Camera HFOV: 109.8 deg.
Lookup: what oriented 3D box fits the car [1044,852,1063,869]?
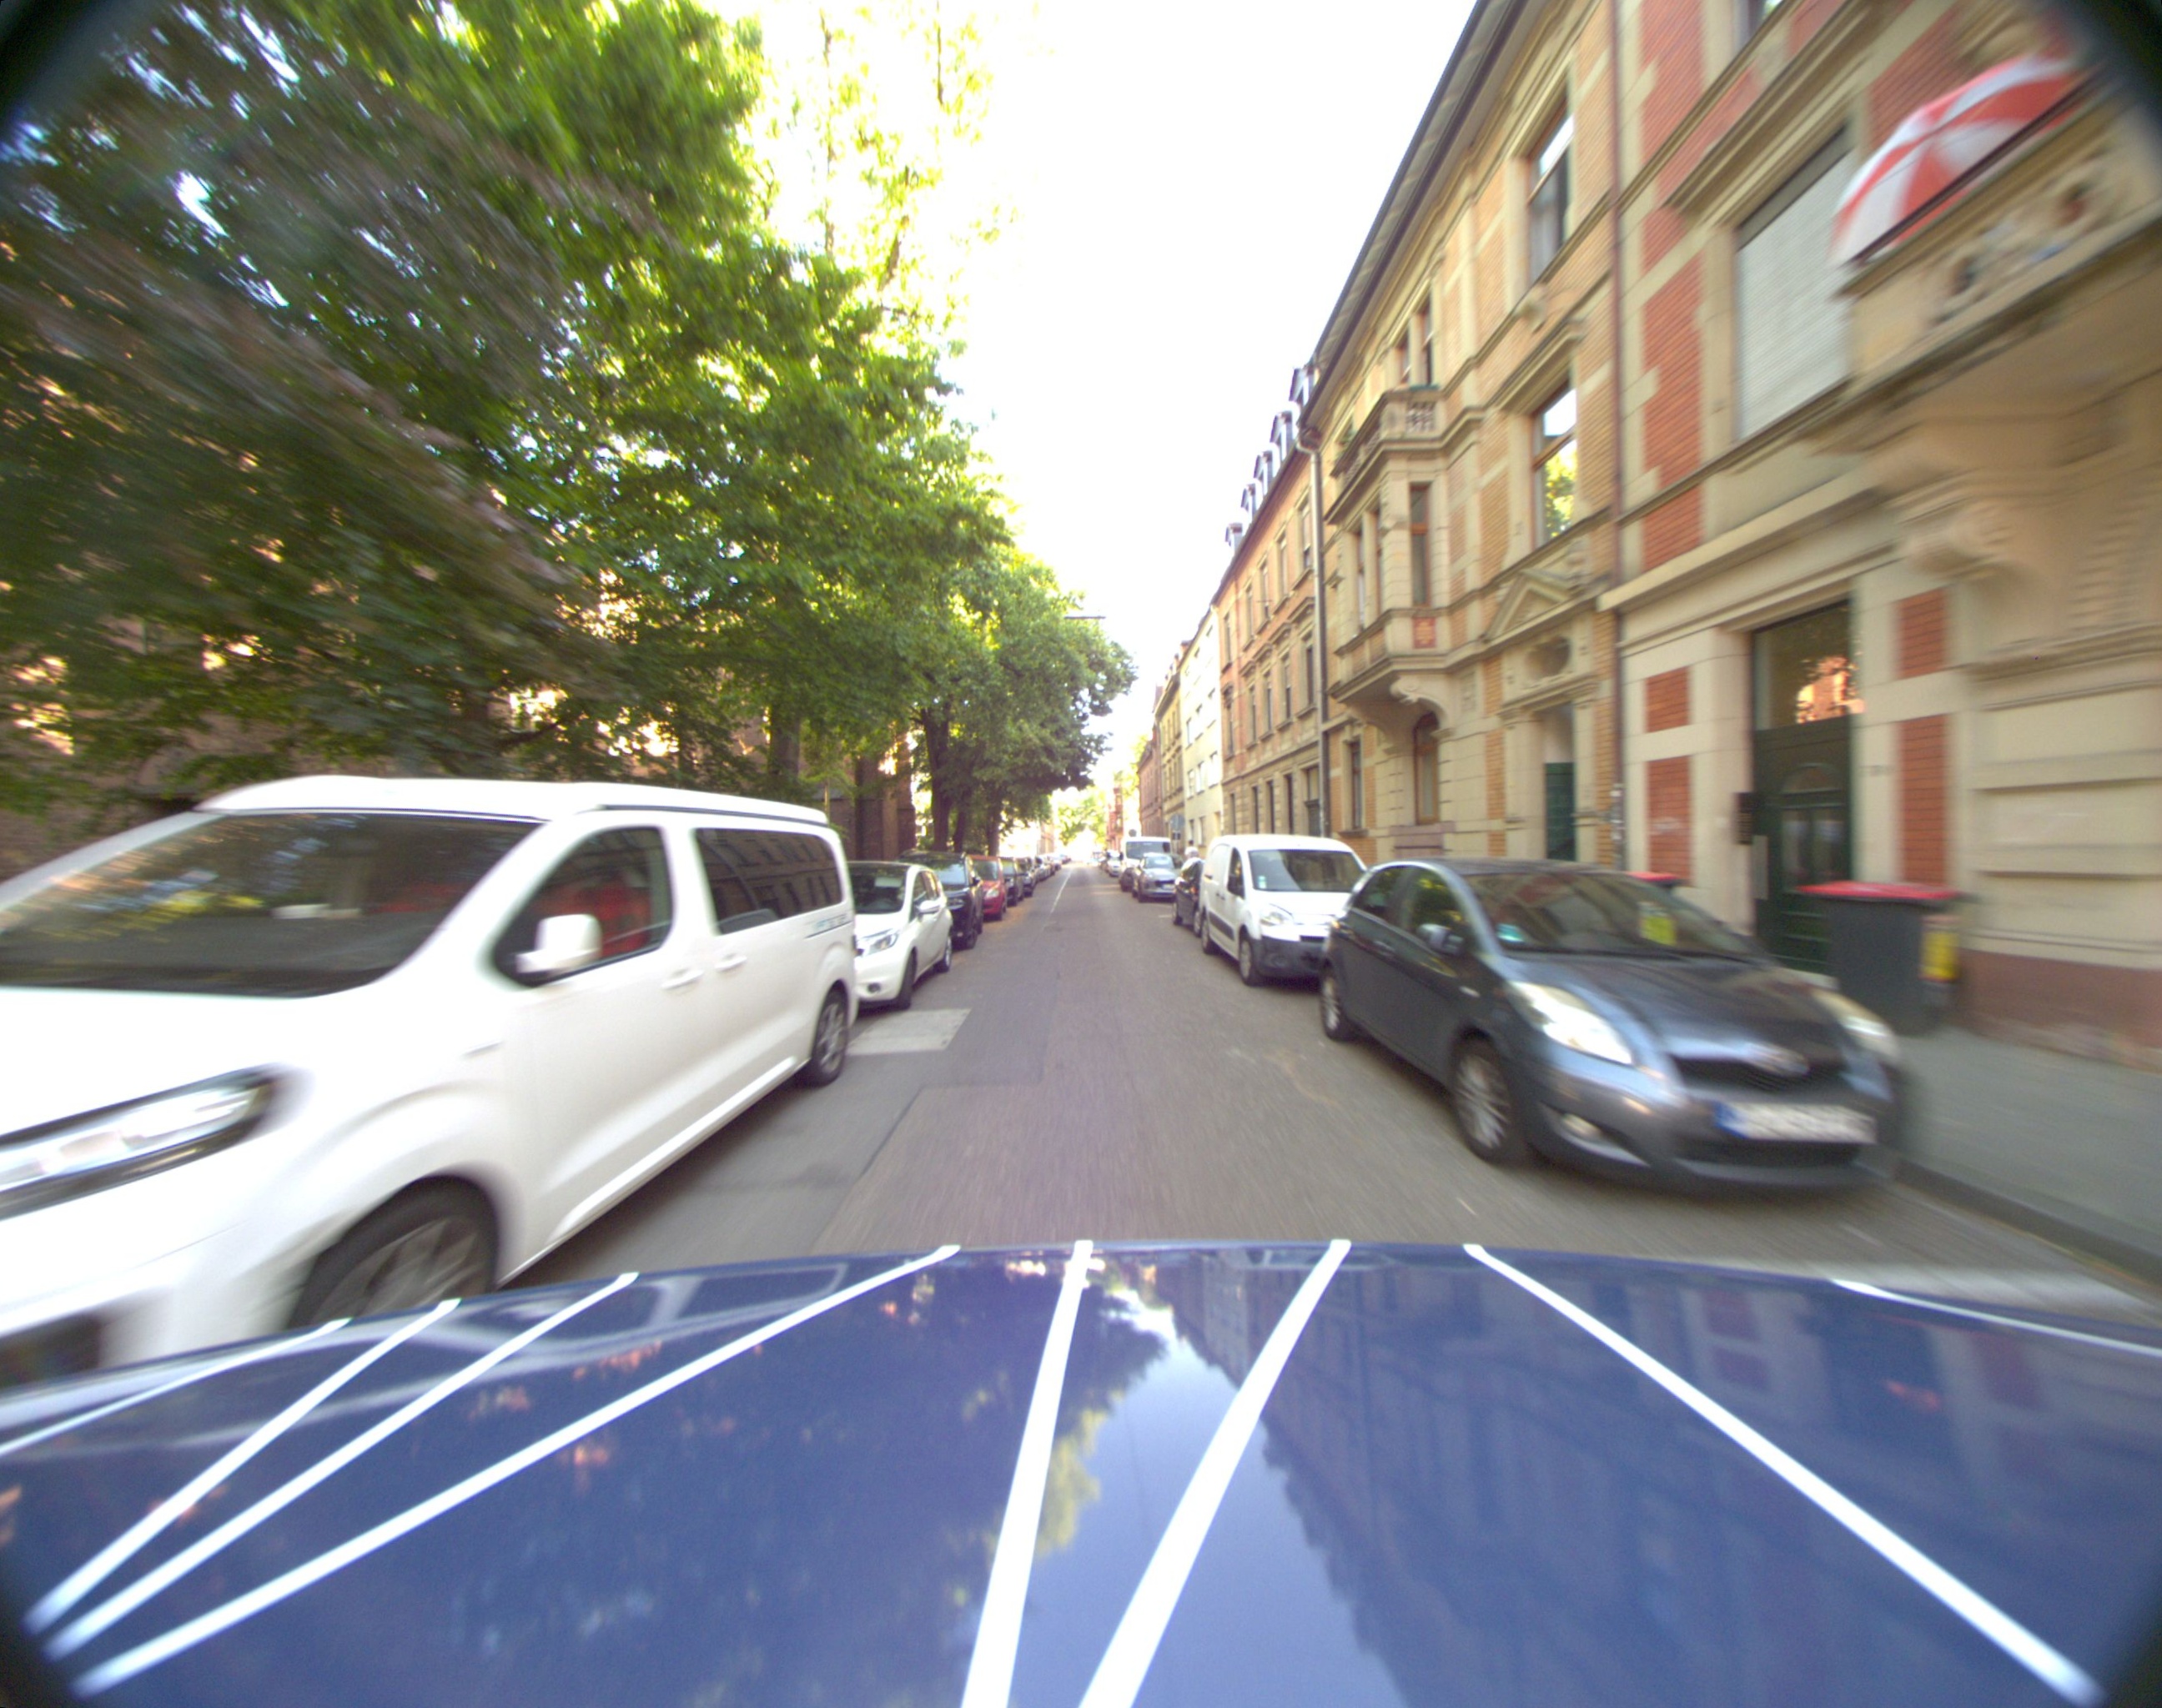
[{"bbox_3d":[-2.477,0.547,69.737,1.625,1.428,4.001,0,1,-1],"label":"car"}]

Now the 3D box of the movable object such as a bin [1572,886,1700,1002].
[{"bbox_3d":[5.640,0.887,7.772,0.639,1.035,0.856,-4,1,0],"label":"movable object such as a bin"}]

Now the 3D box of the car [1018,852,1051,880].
[{"bbox_3d":[-2.663,0.664,44.379,1.603,1.462,3.868,1,1,1],"label":"car"}]

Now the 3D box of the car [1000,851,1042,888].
[{"bbox_3d":[-2.705,0.674,35.001,1.603,1.497,3.627,3,1,-1],"label":"car"}]

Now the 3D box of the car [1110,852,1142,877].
[{"bbox_3d":[2.790,0.616,47.842,1.735,1.447,4.521,0,0,0],"label":"car"}]

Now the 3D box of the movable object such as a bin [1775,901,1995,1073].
[{"bbox_3d":[5.705,0.907,5.448,0.639,1.035,0.856,-4,1,0],"label":"movable object such as a bin"}]

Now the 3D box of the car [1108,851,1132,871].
[{"bbox_3d":[2.934,0.511,58.195,1.713,1.409,3.802,1,1,1],"label":"car"}]

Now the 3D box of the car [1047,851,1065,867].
[{"bbox_3d":[-2.457,0.472,75.103,1.713,1.511,3.830,0,1,-1],"label":"car"}]

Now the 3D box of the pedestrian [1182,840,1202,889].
[{"bbox_3d":[4.324,0.392,29.701,0.580,1.872,0.904,-2,2,0],"label":"pedestrian"}]

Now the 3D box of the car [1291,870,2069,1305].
[{"bbox_3d":[2.734,0.902,4.758,1.697,1.472,3.972,0,0,0],"label":"car"}]

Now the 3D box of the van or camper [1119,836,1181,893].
[{"bbox_3d":[2.713,0.387,31.056,2.182,2.135,5.154,0,1,2],"label":"van or camper"}]

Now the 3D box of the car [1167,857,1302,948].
[{"bbox_3d":[2.854,0.845,15.023,1.697,1.505,3.971,0,0,-3],"label":"car"}]

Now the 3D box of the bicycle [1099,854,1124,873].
[{"bbox_3d":[2.194,0.685,54.860,1.840,1.236,0.573,-4,1,43],"label":"bicycle"}]

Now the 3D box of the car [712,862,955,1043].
[{"bbox_3d":[-2.621,0.940,9.022,1.723,1.562,3.827,-2,1,-2],"label":"car"}]

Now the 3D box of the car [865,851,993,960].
[{"bbox_3d":[-2.674,0.820,14.278,1.744,1.594,4.261,3,1,-4],"label":"car"}]

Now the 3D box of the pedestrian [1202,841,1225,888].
[{"bbox_3d":[5.128,0.410,29.467,0.703,1.762,0.649,-2,2,0],"label":"pedestrian"}]

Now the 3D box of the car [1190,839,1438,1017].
[{"bbox_3d":[2.690,0.734,9.988,1.836,1.801,4.571,0,1,0],"label":"car"}]

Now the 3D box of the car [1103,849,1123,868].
[{"bbox_3d":[2.866,0.368,69.203,1.713,1.665,4.277,1,1,1],"label":"car"}]

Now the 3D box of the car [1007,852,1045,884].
[{"bbox_3d":[-2.866,0.680,39.966,1.603,1.460,3.563,3,1,1],"label":"car"}]

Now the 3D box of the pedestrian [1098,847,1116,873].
[{"bbox_3d":[1.869,0.438,54.458,1.112,1.793,0.490,-3,1,43],"label":"pedestrian"}]

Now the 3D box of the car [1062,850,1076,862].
[{"bbox_3d":[-1.584,0.282,103.977,1.845,1.643,4.000,0,0,0],"label":"car"}]

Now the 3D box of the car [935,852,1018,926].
[{"bbox_3d":[-2.661,0.823,20.038,1.623,1.615,3.862,3,1,-1],"label":"car"}]

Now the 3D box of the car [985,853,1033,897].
[{"bbox_3d":[-2.747,0.753,29.738,1.680,1.433,4.692,3,1,-4],"label":"car"}]

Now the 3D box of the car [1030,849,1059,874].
[{"bbox_3d":[-2.525,0.479,53.512,1.668,1.577,4.100,3,1,2],"label":"car"}]

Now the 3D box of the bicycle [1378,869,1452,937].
[{"bbox_3d":[5.791,0.824,13.264,0.572,1.035,1.546,-4,1,0],"label":"bicycle"}]

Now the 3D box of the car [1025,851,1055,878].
[{"bbox_3d":[-2.637,0.649,49.139,1.603,1.497,3.719,3,1,1],"label":"car"}]

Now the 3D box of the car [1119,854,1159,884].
[{"bbox_3d":[2.821,0.701,37.557,1.735,1.394,4.315,0,0,2],"label":"car"}]

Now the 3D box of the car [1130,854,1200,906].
[{"bbox_3d":[2.652,0.769,24.758,1.771,1.505,4.192,0,0,-1],"label":"car"}]

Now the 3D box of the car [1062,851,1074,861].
[{"bbox_3d":[-2.326,0.302,135.794,1.998,1.659,4.000,-2,0,2],"label":"car"}]

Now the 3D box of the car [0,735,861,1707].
[{"bbox_3d":[-2.770,0.764,3.547,1.919,1.987,4.792,0,1,2],"label":"car"}]

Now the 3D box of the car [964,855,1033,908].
[{"bbox_3d":[-2.626,0.837,24.965,1.622,1.478,3.776,3,1,2],"label":"car"}]

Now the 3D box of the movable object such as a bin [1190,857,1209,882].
[{"bbox_3d":[5.526,0.715,35.415,0.802,1.082,0.666,-1,2,4],"label":"movable object such as a bin"}]
